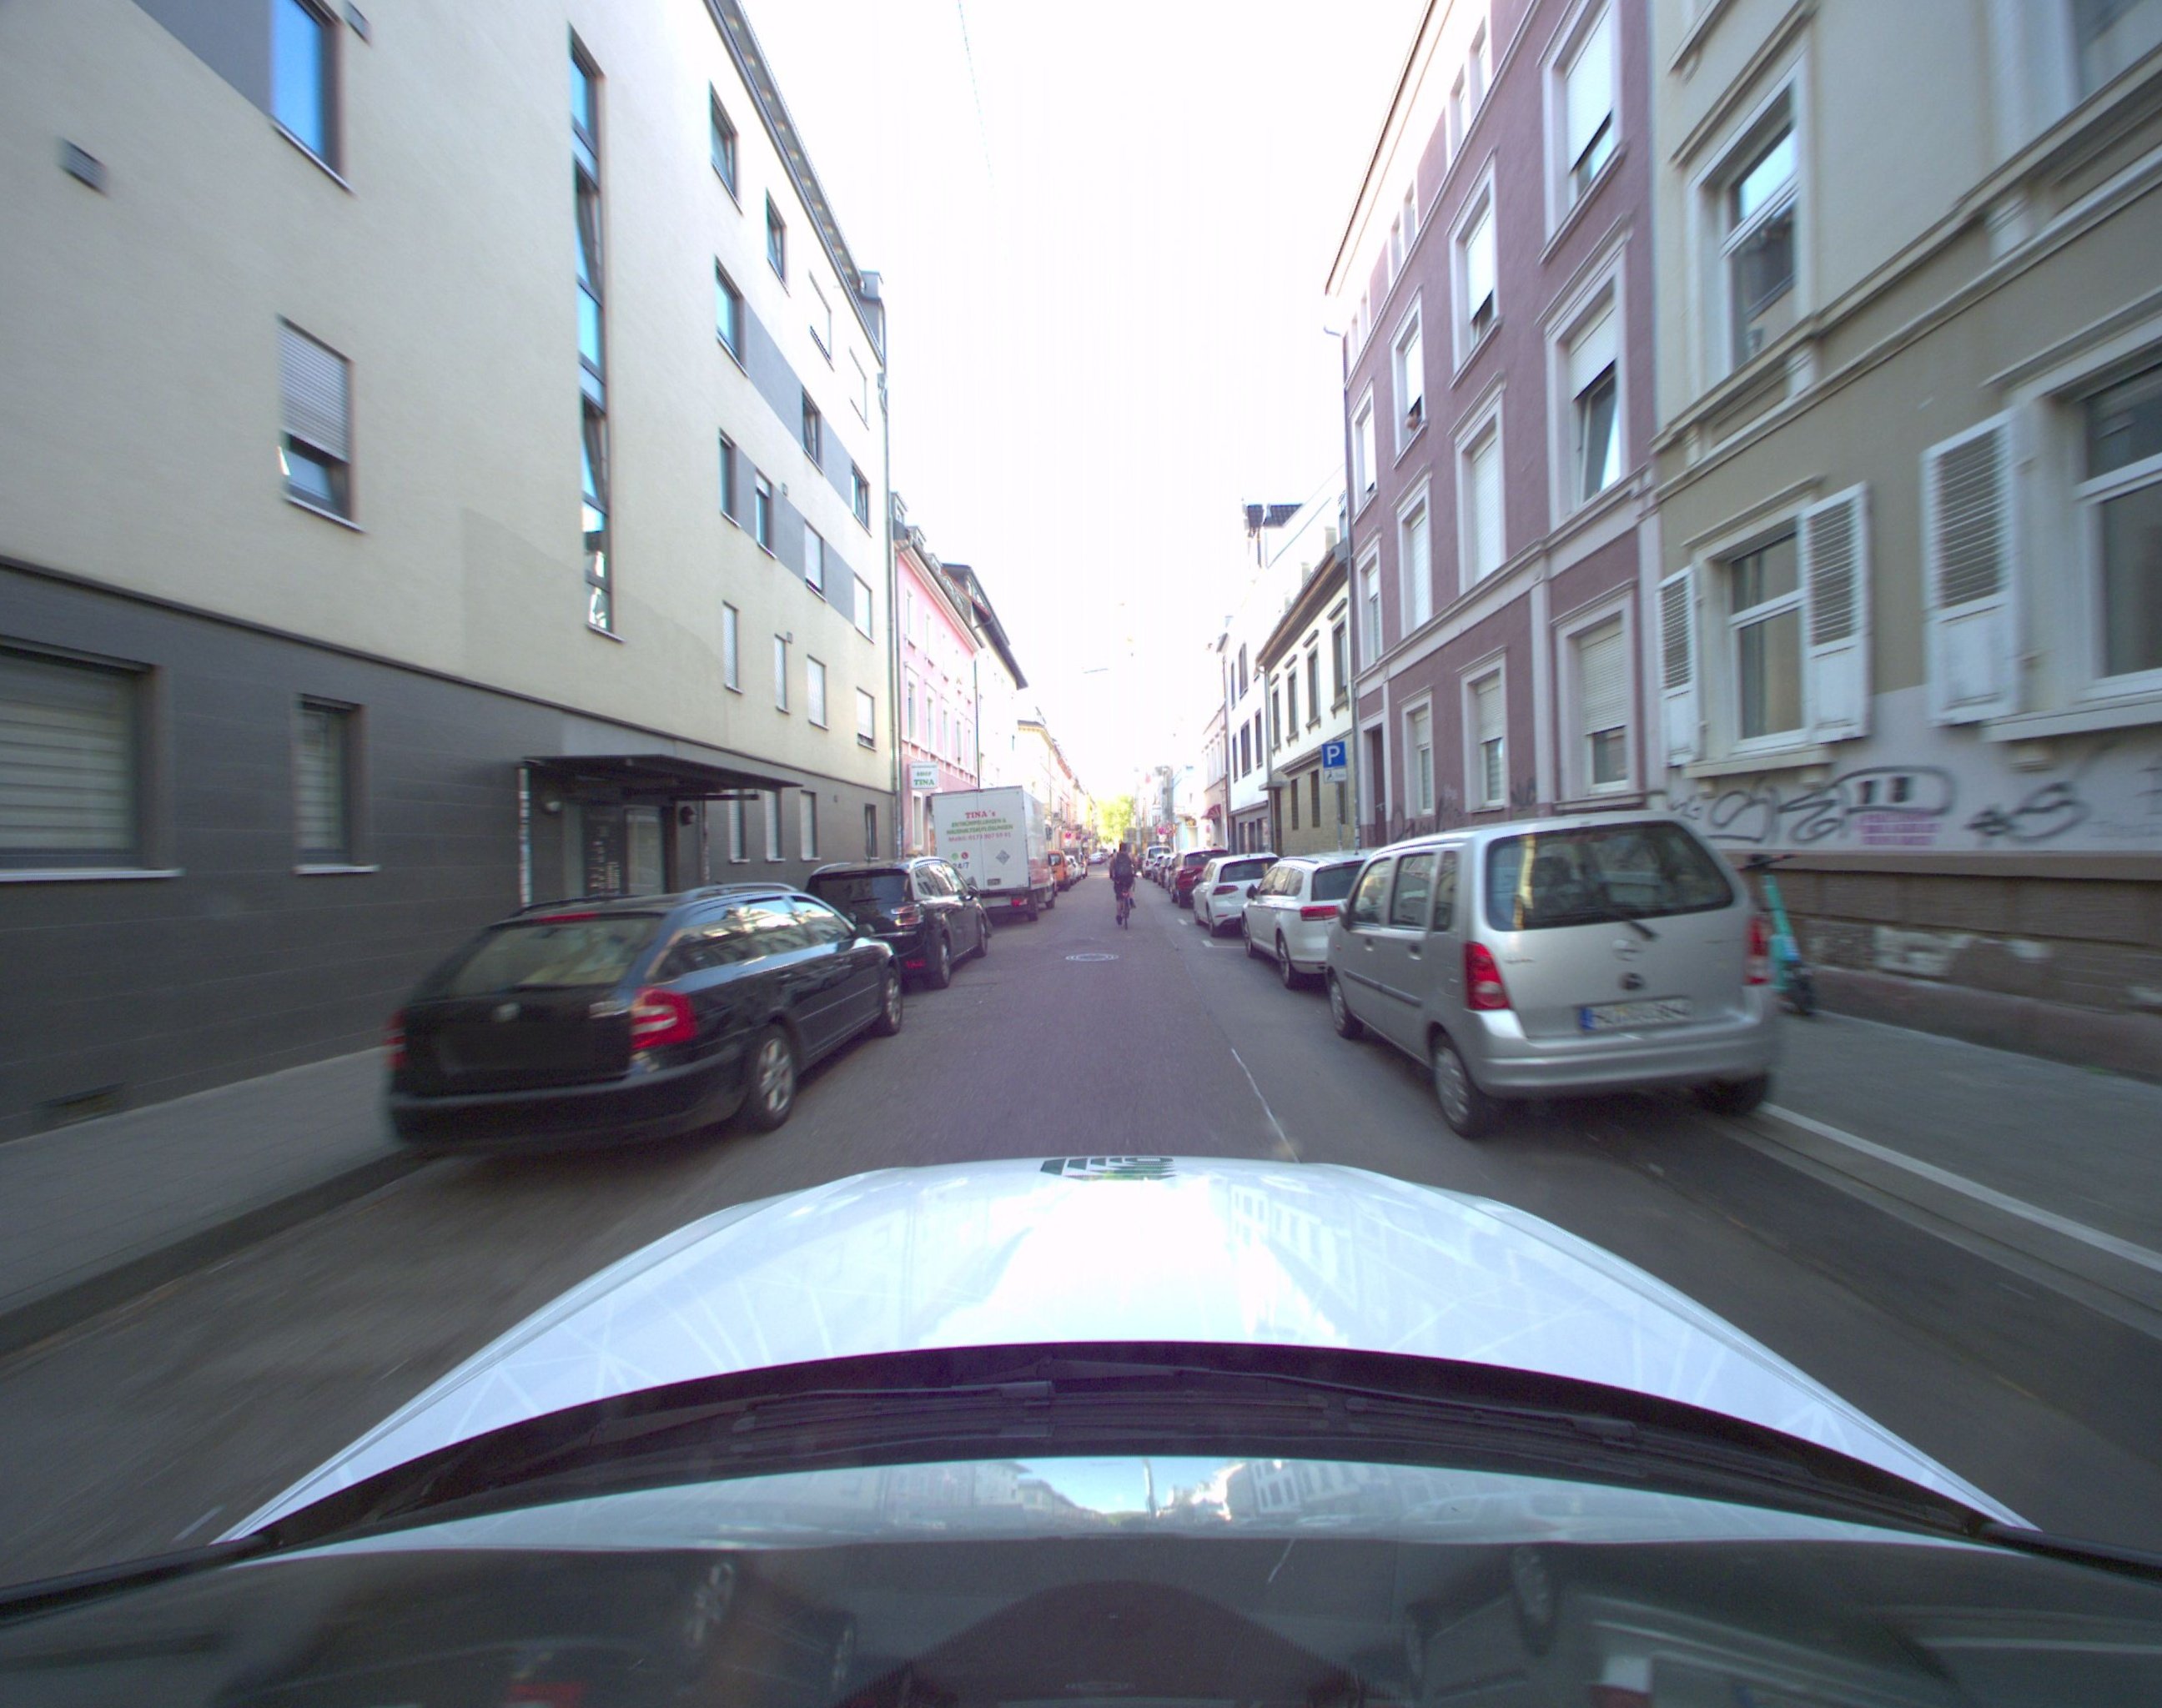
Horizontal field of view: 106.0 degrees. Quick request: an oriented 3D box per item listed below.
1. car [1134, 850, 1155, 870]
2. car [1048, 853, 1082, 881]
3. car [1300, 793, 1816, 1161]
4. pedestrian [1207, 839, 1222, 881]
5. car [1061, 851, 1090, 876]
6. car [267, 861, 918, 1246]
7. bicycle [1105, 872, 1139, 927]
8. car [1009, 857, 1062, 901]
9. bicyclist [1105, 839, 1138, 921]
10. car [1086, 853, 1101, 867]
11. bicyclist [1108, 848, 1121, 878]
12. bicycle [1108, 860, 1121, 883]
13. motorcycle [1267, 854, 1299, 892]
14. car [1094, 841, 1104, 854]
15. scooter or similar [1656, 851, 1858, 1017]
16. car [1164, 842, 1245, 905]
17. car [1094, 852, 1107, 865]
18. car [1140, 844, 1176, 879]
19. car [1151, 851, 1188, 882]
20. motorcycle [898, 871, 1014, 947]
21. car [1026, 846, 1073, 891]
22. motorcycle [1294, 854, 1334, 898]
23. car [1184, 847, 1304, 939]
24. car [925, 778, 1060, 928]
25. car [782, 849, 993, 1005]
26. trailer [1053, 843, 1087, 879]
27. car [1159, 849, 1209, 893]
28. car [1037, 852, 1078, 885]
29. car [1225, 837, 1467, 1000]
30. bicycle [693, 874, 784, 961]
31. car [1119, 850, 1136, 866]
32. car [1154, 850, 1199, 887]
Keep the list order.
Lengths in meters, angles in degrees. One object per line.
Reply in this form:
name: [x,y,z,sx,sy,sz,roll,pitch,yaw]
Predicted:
car: [5.095,0.480,65.844,1.605,1.633,3.612,0,0,2]
car: [-0.896,0.732,46.809,1.647,1.537,3.636,-2,-1,2]
car: [2.696,0.586,5.583,1.550,1.712,3.560,0,0,2]
pedestrian: [6.423,0.307,39.247,0.641,2.014,0.764,0,-1,2]
car: [-0.350,0.668,55.861,1.743,1.573,3.798,-2,-1,2]
car: [-2.598,0.898,5.822,1.710,1.478,4.501,-4,1,2]
bicycle: [0.852,0.926,17.310,0.674,1.074,1.942,0,-1,2]
car: [-1.698,0.926,31.378,1.572,1.483,3.567,-4,-1,2]
bicyclist: [0.851,0.532,17.280,0.665,1.677,1.097,0,-1,2]
car: [1.617,0.732,105.061,1.743,1.683,3.798,-2,-1,2]
bicyclist: [1.705,0.465,41.892,0.668,1.567,0.716,0,-1,1]
bicycle: [1.700,0.889,41.827,0.646,1.129,2.137,0,-1,2]
motorcycle: [6.173,0.569,24.957,0.499,1.095,1.879,-4,-1,2]
car: [3.336,-1.204,151.602,1.743,2.318,3.798,-2,-1,2]
scooter or similar: [5.425,0.589,6.641,0.448,1.182,1.369,-5,-1,2]
car: [3.604,0.524,24.555,1.910,1.706,4.368,-1,0,2]
car: [2.958,0.648,121.949,1.743,1.821,3.798,-2,-1,2]
car: [4.511,0.437,48.168,1.744,1.879,3.972,-2,-1,0]
car: [4.616,0.640,43.093,1.742,1.487,3.803,-2,-1,4]
motorcycle: [-2.379,1.027,15.697,0.782,1.253,2.120,-3,0,44]
car: [-1.350,0.638,36.421,1.746,1.816,4.080,-3,-1,2]
motorcycle: [6.219,0.559,21.803,0.556,1.095,1.777,-4,-1,2]
car: [3.155,0.704,16.523,1.680,1.543,4.048,-3,-1,2]
car: [-2.132,0.005,22.173,2.334,3.291,7.160,-3,-1,3]
car: [-2.443,0.824,11.446,1.710,1.650,4.248,-4,1,2]
trailer: [-0.634,0.451,51.490,1.874,2.092,3.739,-2,-1,2]
car: [4.050,0.652,32.589,1.660,1.505,3.819,-4,-1,3]
car: [-1.146,0.742,41.905,1.743,1.537,4.321,-2,-1,2]
car: [3.075,0.666,10.518,1.690,1.543,4.631,-3,-1,2]
bicycle: [-5.227,0.929,12.543,0.488,1.164,1.775,-3,0,3]
car: [4.683,0.416,81.813,1.605,1.560,3.612,0,0,2]
car: [4.303,0.629,37.306,1.639,1.475,3.973,-5,-1,2]
